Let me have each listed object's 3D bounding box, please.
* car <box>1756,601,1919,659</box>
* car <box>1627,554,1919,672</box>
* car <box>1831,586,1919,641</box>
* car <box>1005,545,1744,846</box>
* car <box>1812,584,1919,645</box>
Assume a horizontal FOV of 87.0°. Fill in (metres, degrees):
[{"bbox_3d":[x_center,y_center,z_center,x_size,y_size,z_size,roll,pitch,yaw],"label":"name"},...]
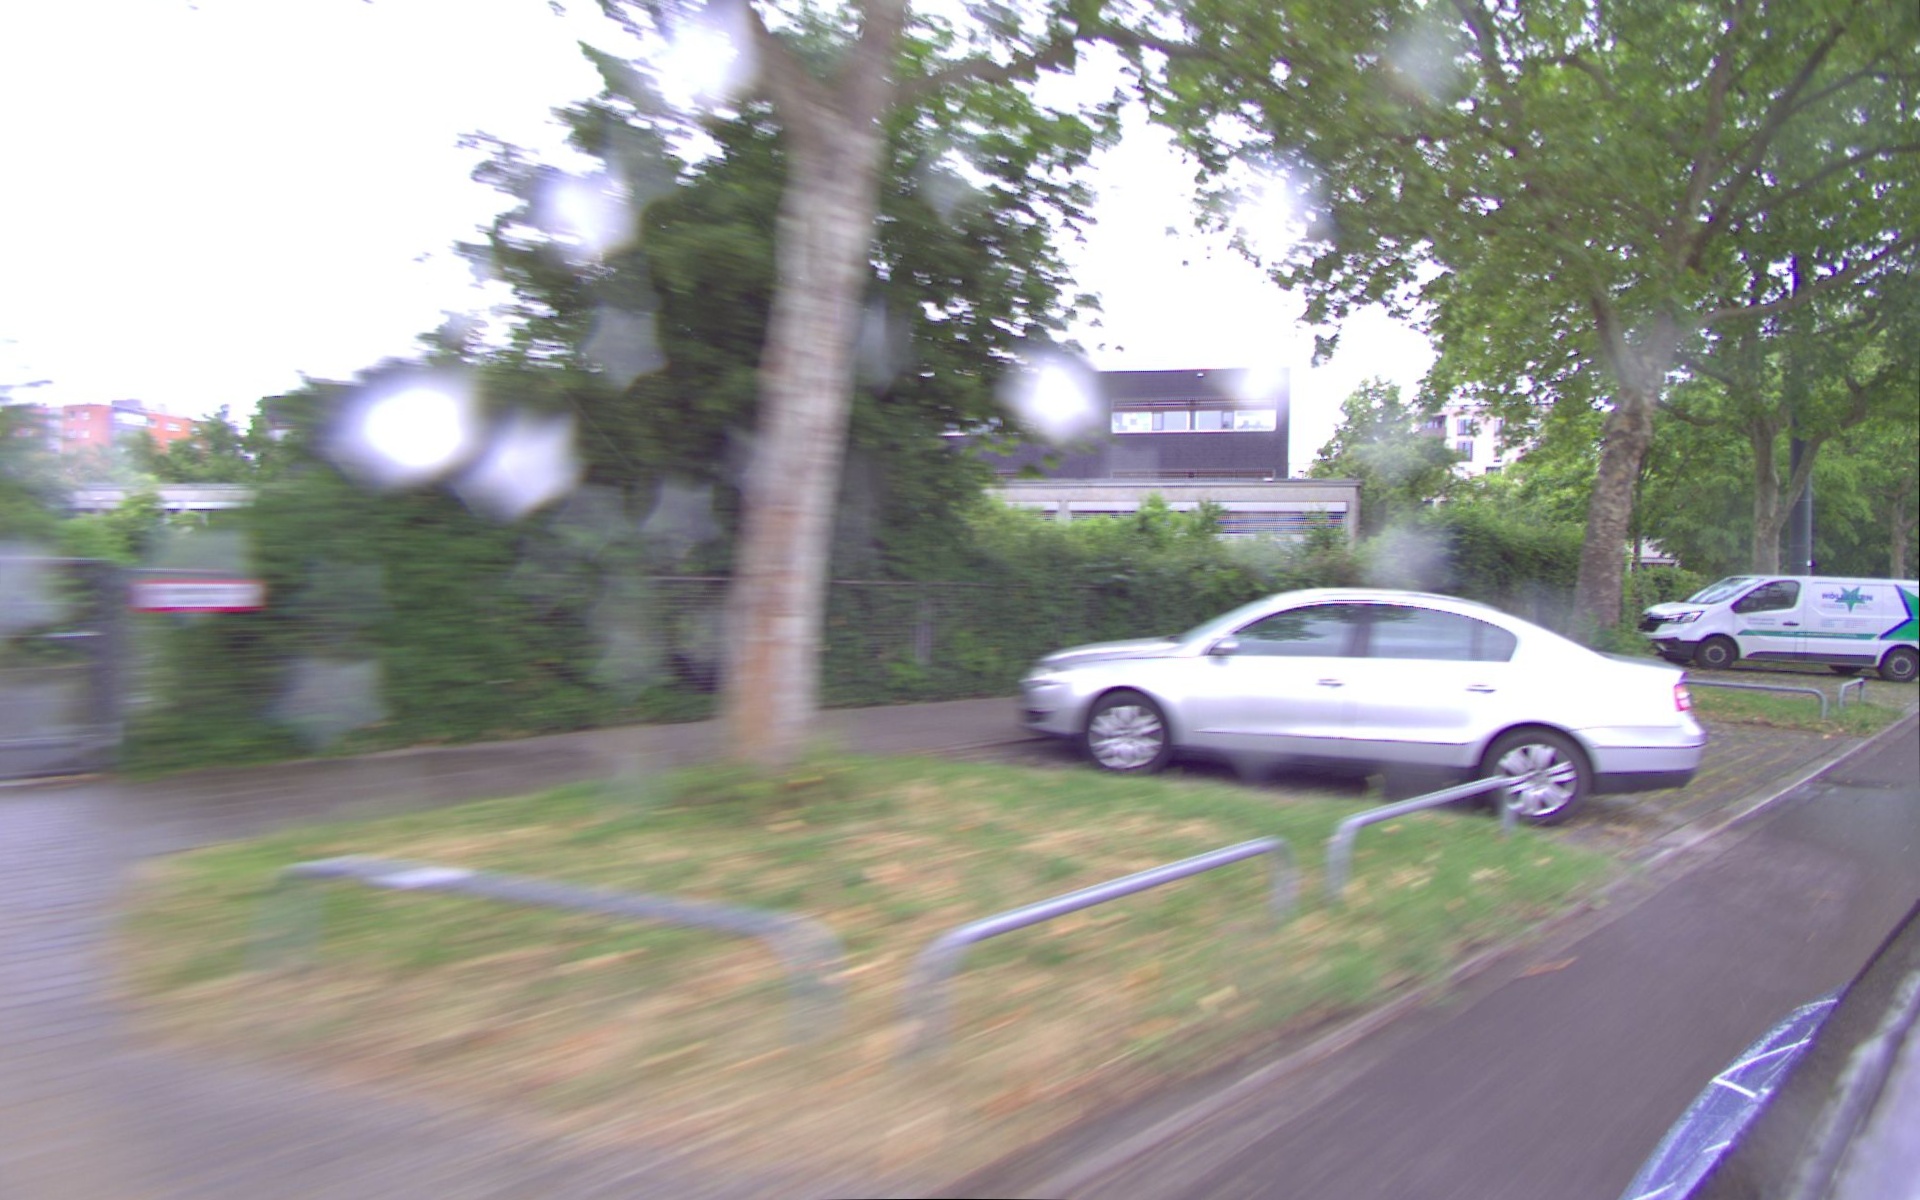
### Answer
[{"bbox_3d":[23.856,0.766,26.609,4.236,1.402,1.736,1,1,10],"label":"car"},{"bbox_3d":[16.627,0.224,20.276,4.958,2.038,1.991,3,1,15],"label":"car"},{"bbox_3d":[31.026,0.456,32.685,3.985,1.661,1.649,2,2,12],"label":"car"},{"bbox_3d":[2.783,0.528,7.665,4.501,1.564,1.877,4,2,18],"label":"car"},{"bbox_3d":[28.528,0.450,31.028,3.229,1.691,1.586,3,2,16],"label":"car"}]
